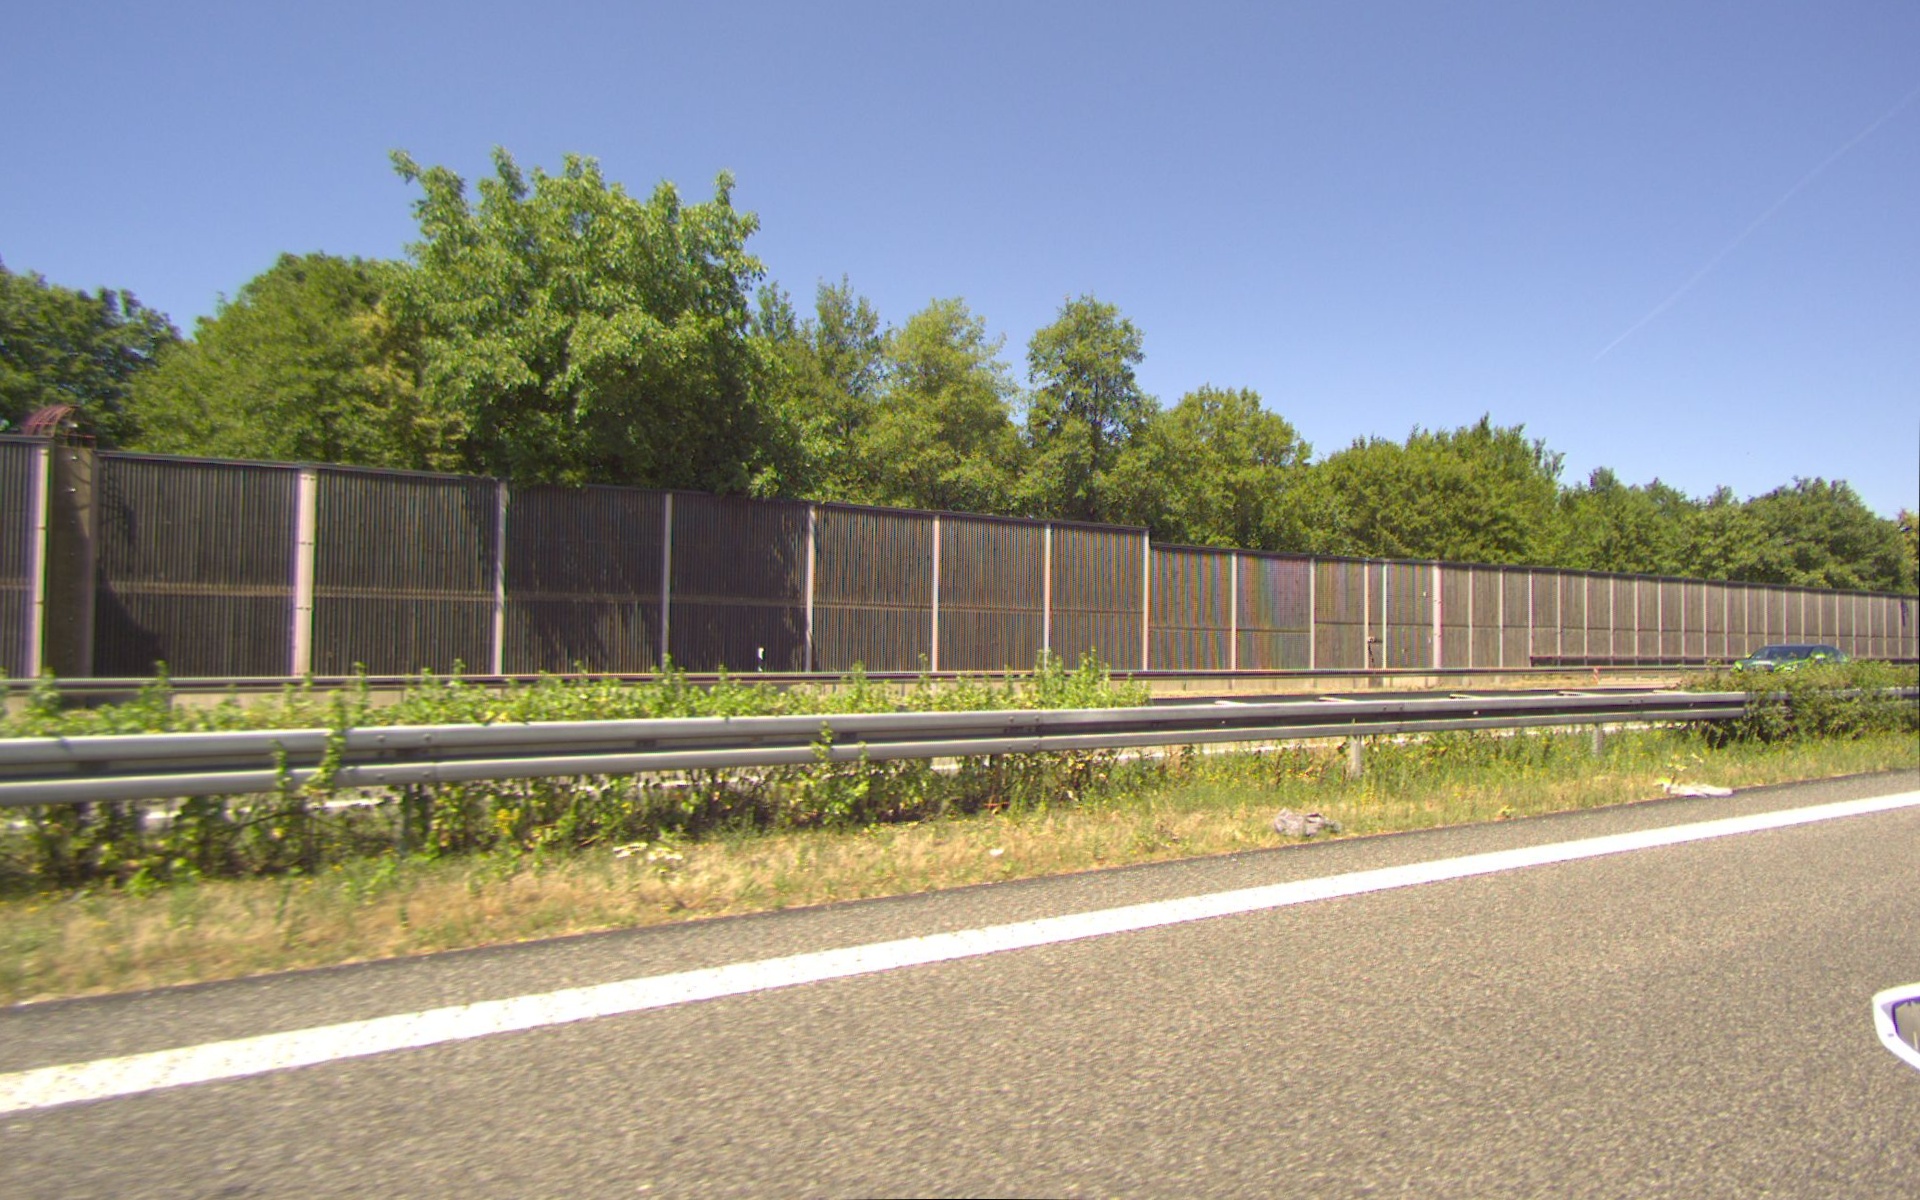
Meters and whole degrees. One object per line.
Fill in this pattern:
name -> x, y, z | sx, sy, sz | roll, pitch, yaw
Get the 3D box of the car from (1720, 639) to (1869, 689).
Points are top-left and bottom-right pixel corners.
car -> 25.813, 1.948, 31.045 | 4.821, 1.451, 1.951 | 2, -2, -29
